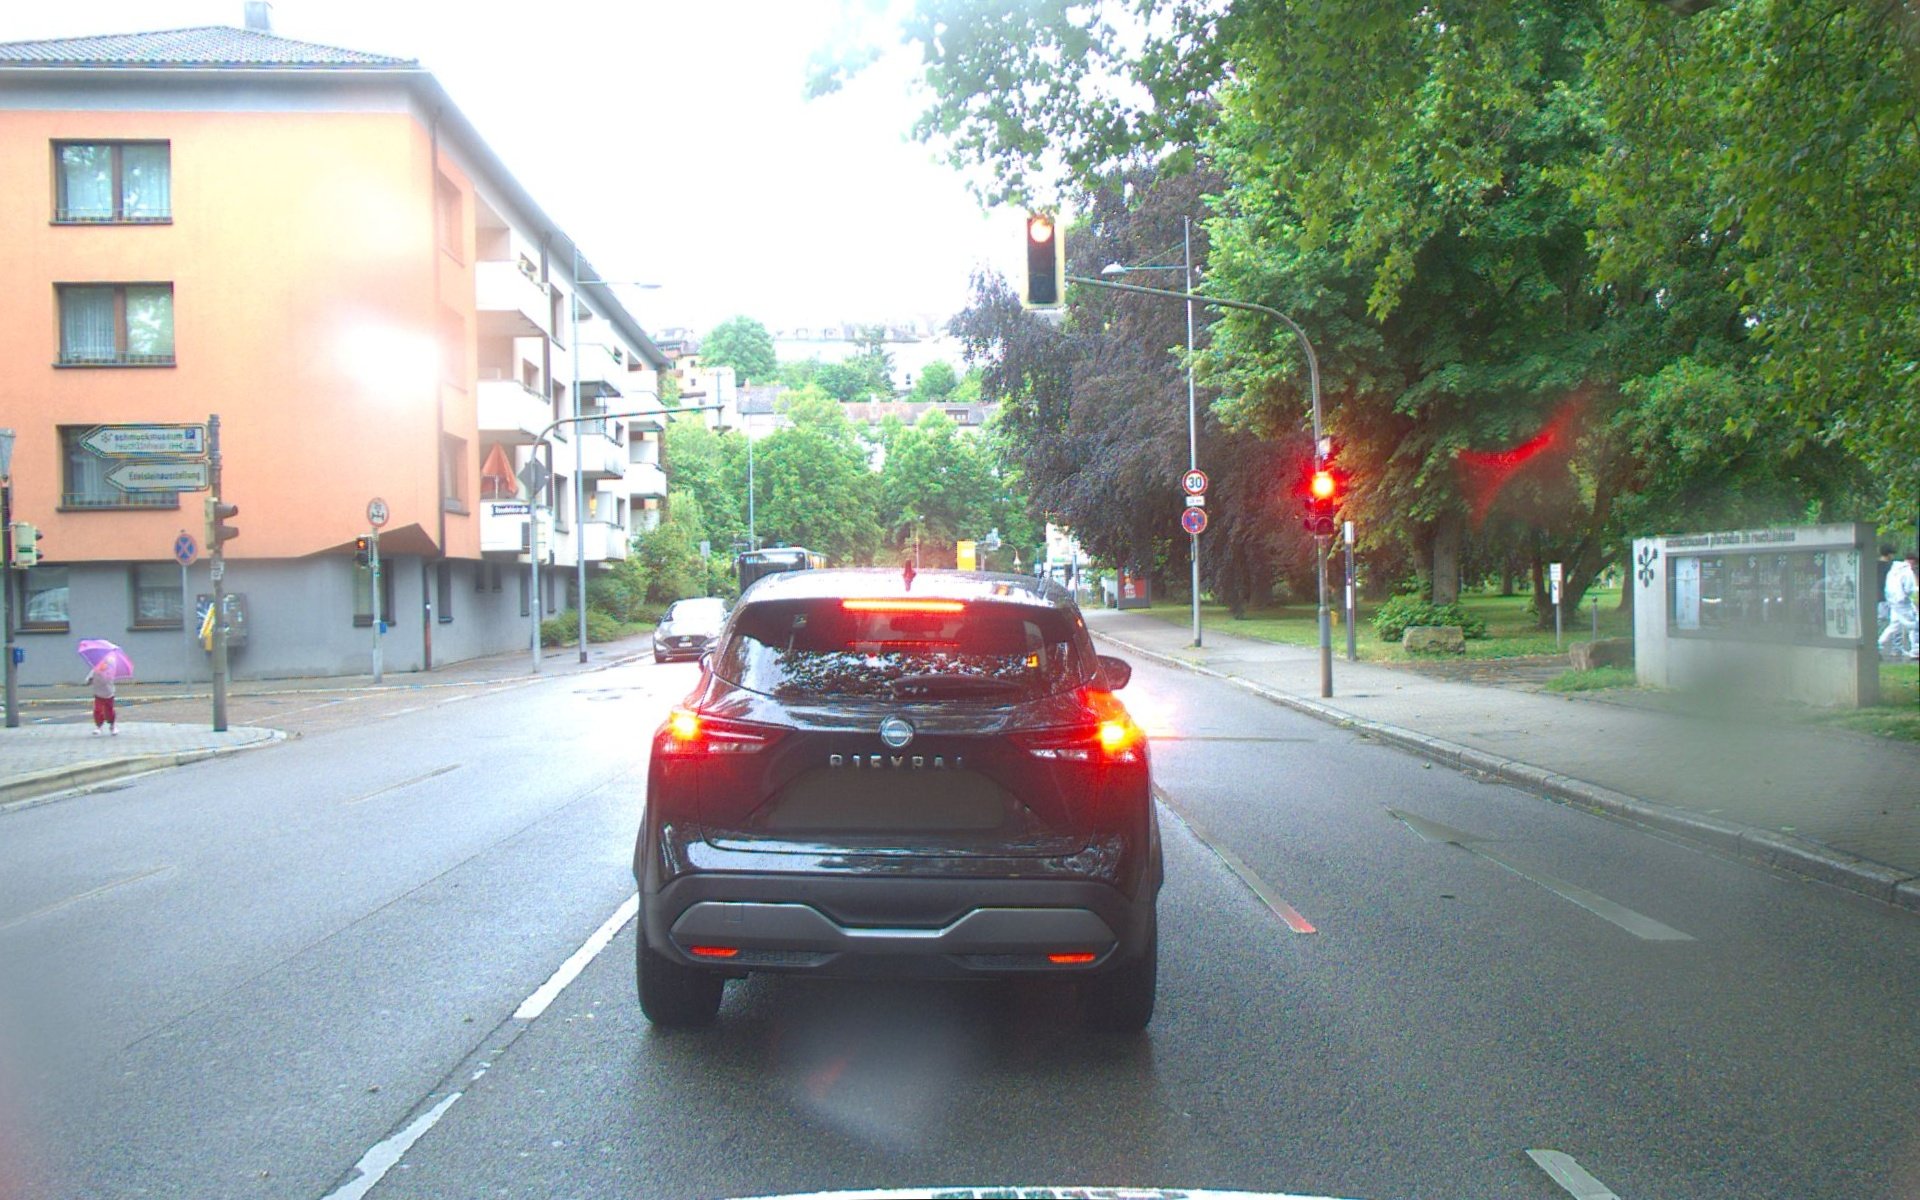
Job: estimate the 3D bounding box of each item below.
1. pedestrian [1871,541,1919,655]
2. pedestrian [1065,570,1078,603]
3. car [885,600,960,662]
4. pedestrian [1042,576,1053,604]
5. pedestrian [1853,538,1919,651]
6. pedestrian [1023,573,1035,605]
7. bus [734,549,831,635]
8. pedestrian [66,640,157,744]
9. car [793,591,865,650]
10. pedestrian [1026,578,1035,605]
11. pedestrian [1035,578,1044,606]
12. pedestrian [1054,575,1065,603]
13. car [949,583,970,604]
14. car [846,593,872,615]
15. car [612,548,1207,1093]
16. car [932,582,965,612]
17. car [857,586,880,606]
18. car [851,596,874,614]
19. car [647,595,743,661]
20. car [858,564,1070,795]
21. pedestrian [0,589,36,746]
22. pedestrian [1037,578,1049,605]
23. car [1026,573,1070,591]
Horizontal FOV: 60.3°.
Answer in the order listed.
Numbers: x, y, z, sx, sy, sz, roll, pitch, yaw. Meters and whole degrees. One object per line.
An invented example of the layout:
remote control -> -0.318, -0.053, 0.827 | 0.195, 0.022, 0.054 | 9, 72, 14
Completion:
pedestrian -> 14.756, -0.026, 25.749 | 0.651, 1.742, 0.789 | 1, -1, -9
pedestrian -> 6.173, -0.737, 91.356 | 0.606, 1.810, 0.778 | -2, 0, -1
car -> -0.941, 0.732, 41.122 | 1.772, 1.442, 4.029 | 0, 0, -2
pedestrian -> 5.765, -0.681, 109.201 | 0.606, 1.810, 0.550 | -2, 0, -1
pedestrian -> 14.896, -0.089, 26.578 | 0.651, 1.787, 0.722 | 1, -1, -9
pedestrian -> 4.740, -0.744, 113.438 | 0.752, 2.222, 0.711 | 1, -1, 2
bus -> -6.884, -0.297, 65.872 | 2.710, 3.026, 11.779 | -1, 0, -1
pedestrian -> -10.238, 1.096, 19.976 | 0.670, 1.195, 0.826 | 1, 0, -1
car -> -3.402, 0.502, 43.383 | 1.591, 1.439, 3.454 | -2, 0, 0
pedestrian -> 4.387, -0.529, 102.511 | 0.533, 1.680, 0.490 | 1, -1, 0
pedestrian -> 4.866, -0.507, 101.095 | 0.504, 1.684, 0.550 | 1, -1, -1
pedestrian -> 6.609, -0.735, 109.808 | 0.606, 1.810, 0.550 | -2, 0, -1
car -> -0.064, -0.563, 136.973 | 1.714, 1.662, 3.634 | -2, 1, 0
car -> -7.285, 0.267, 119.688 | 1.643, 1.495, 4.215 | -3, 1, -2
car -> -0.177, 0.675, 6.993 | 1.769, 1.618, 3.999 | 1, 0, -1
car -> -0.573, -0.150, 83.147 | 1.591, 1.439, 3.454 | -2, 0, 0
car -> -7.893, -0.333, 142.505 | 1.714, 1.662, 3.634 | -2, 1, 0
car -> -7.813, 0.416, 132.791 | 1.643, 1.318, 3.750 | -3, 1, -2
car -> -6.485, 0.645, 40.832 | 1.772, 1.441, 4.029 | -3, 1, -2
car -> 0.060, 0.602, 14.713 | 1.588, 1.738, 3.771 | -2, 0, 1
pedestrian -> -11.324, 0.760, 18.788 | 0.972, 1.772, 1.209 | 1, 0, -1
pedestrian -> 5.153, -0.515, 102.633 | 0.685, 1.680, 0.628 | 1, -1, 0
car -> 8.717, -1.785, 164.322 | 3.916, 1.713, 1.995 | -2, 0, -11
